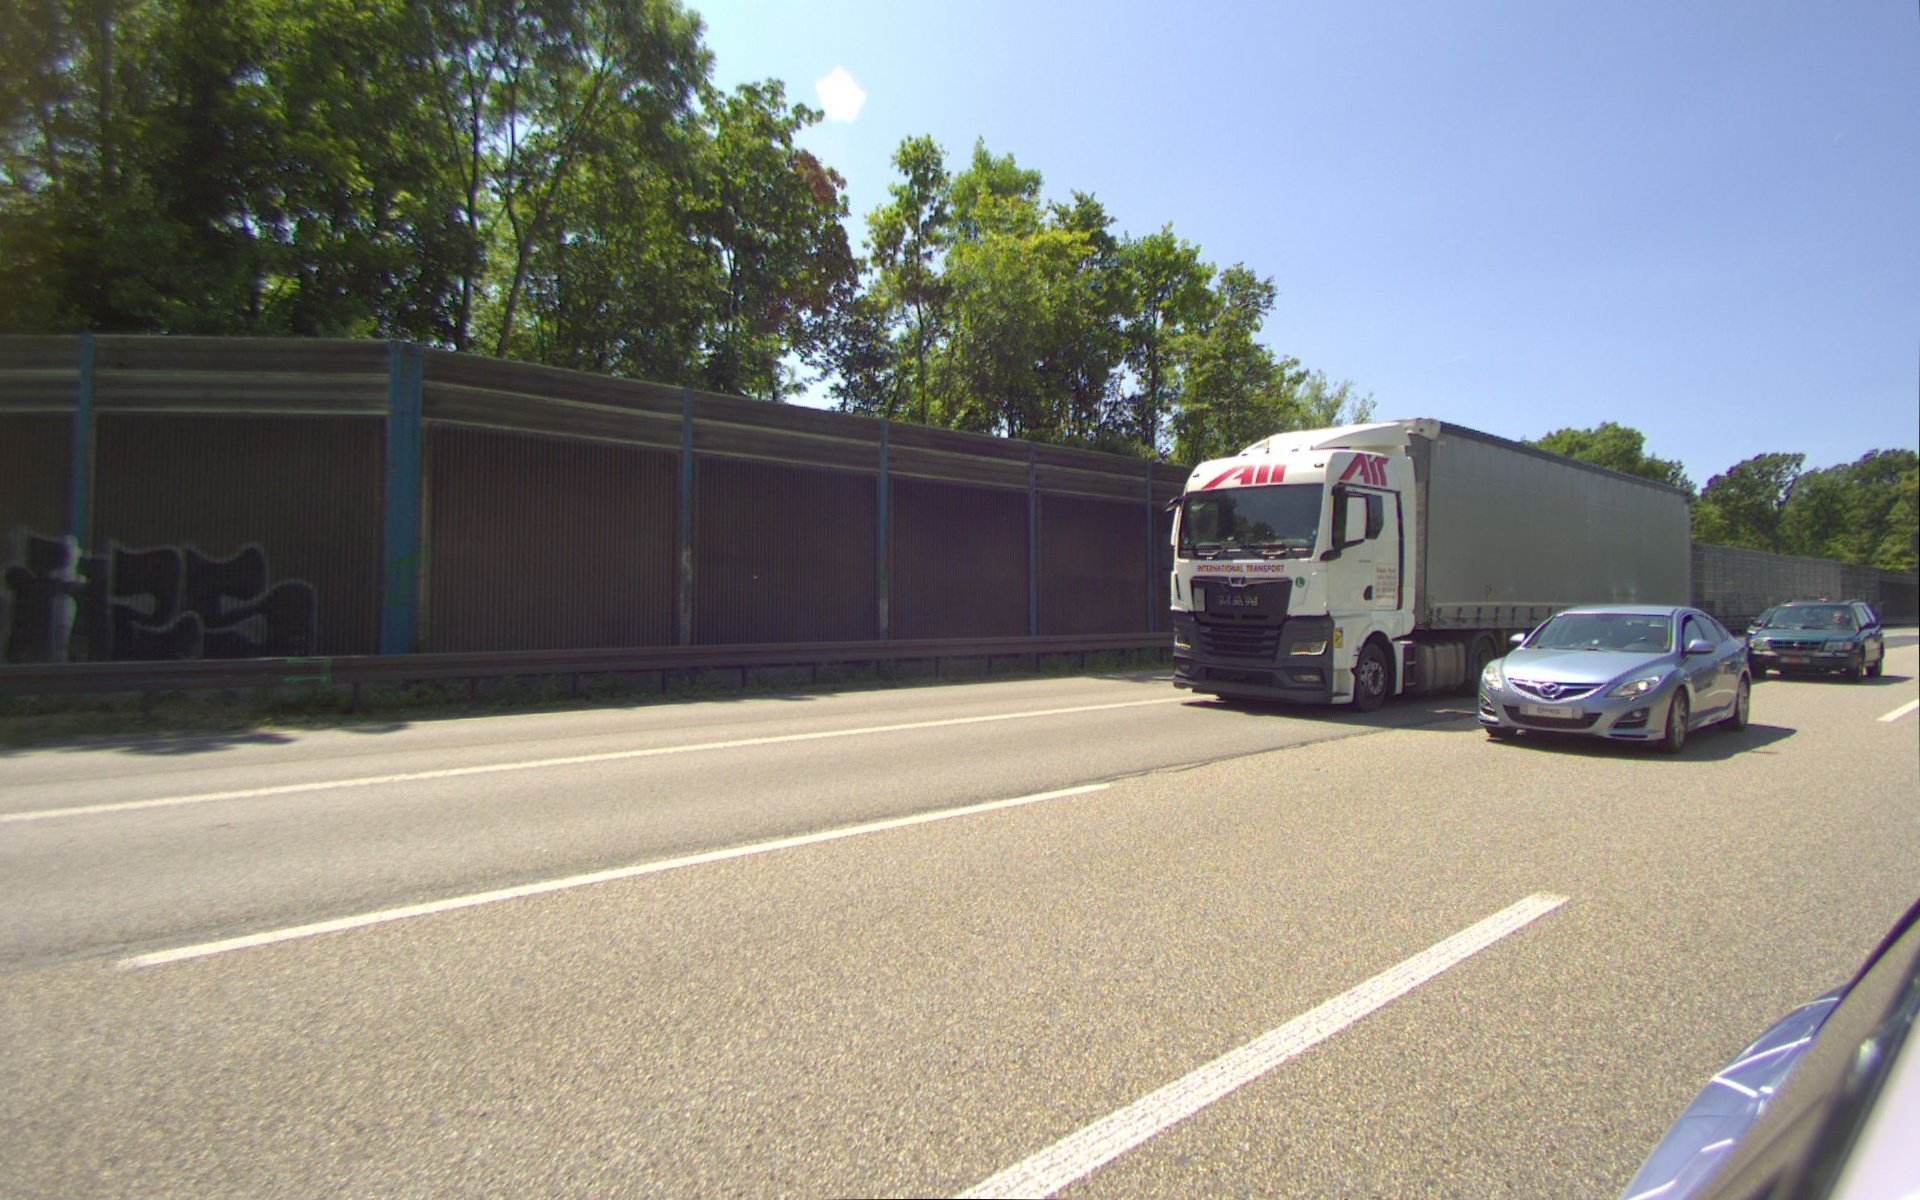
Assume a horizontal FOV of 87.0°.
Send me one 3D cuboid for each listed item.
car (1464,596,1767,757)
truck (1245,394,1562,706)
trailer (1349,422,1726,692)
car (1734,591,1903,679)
[{"bbox_3d":[7.402,0.719,11.268,4.105,1.452,1.858,1,-1,-42],"label":"car"},{"bbox_3d":[7.240,-0.670,16.232,5.456,4.142,2.602,0,0,-41],"label":"truck"},{"bbox_3d":[12.593,-0.665,20.944,13.355,4.142,2.602,0,0,-41],"label":"trailer"},{"bbox_3d":[17.176,0.653,20.189,3.928,1.579,1.907,1,-1,-39],"label":"car"}]
